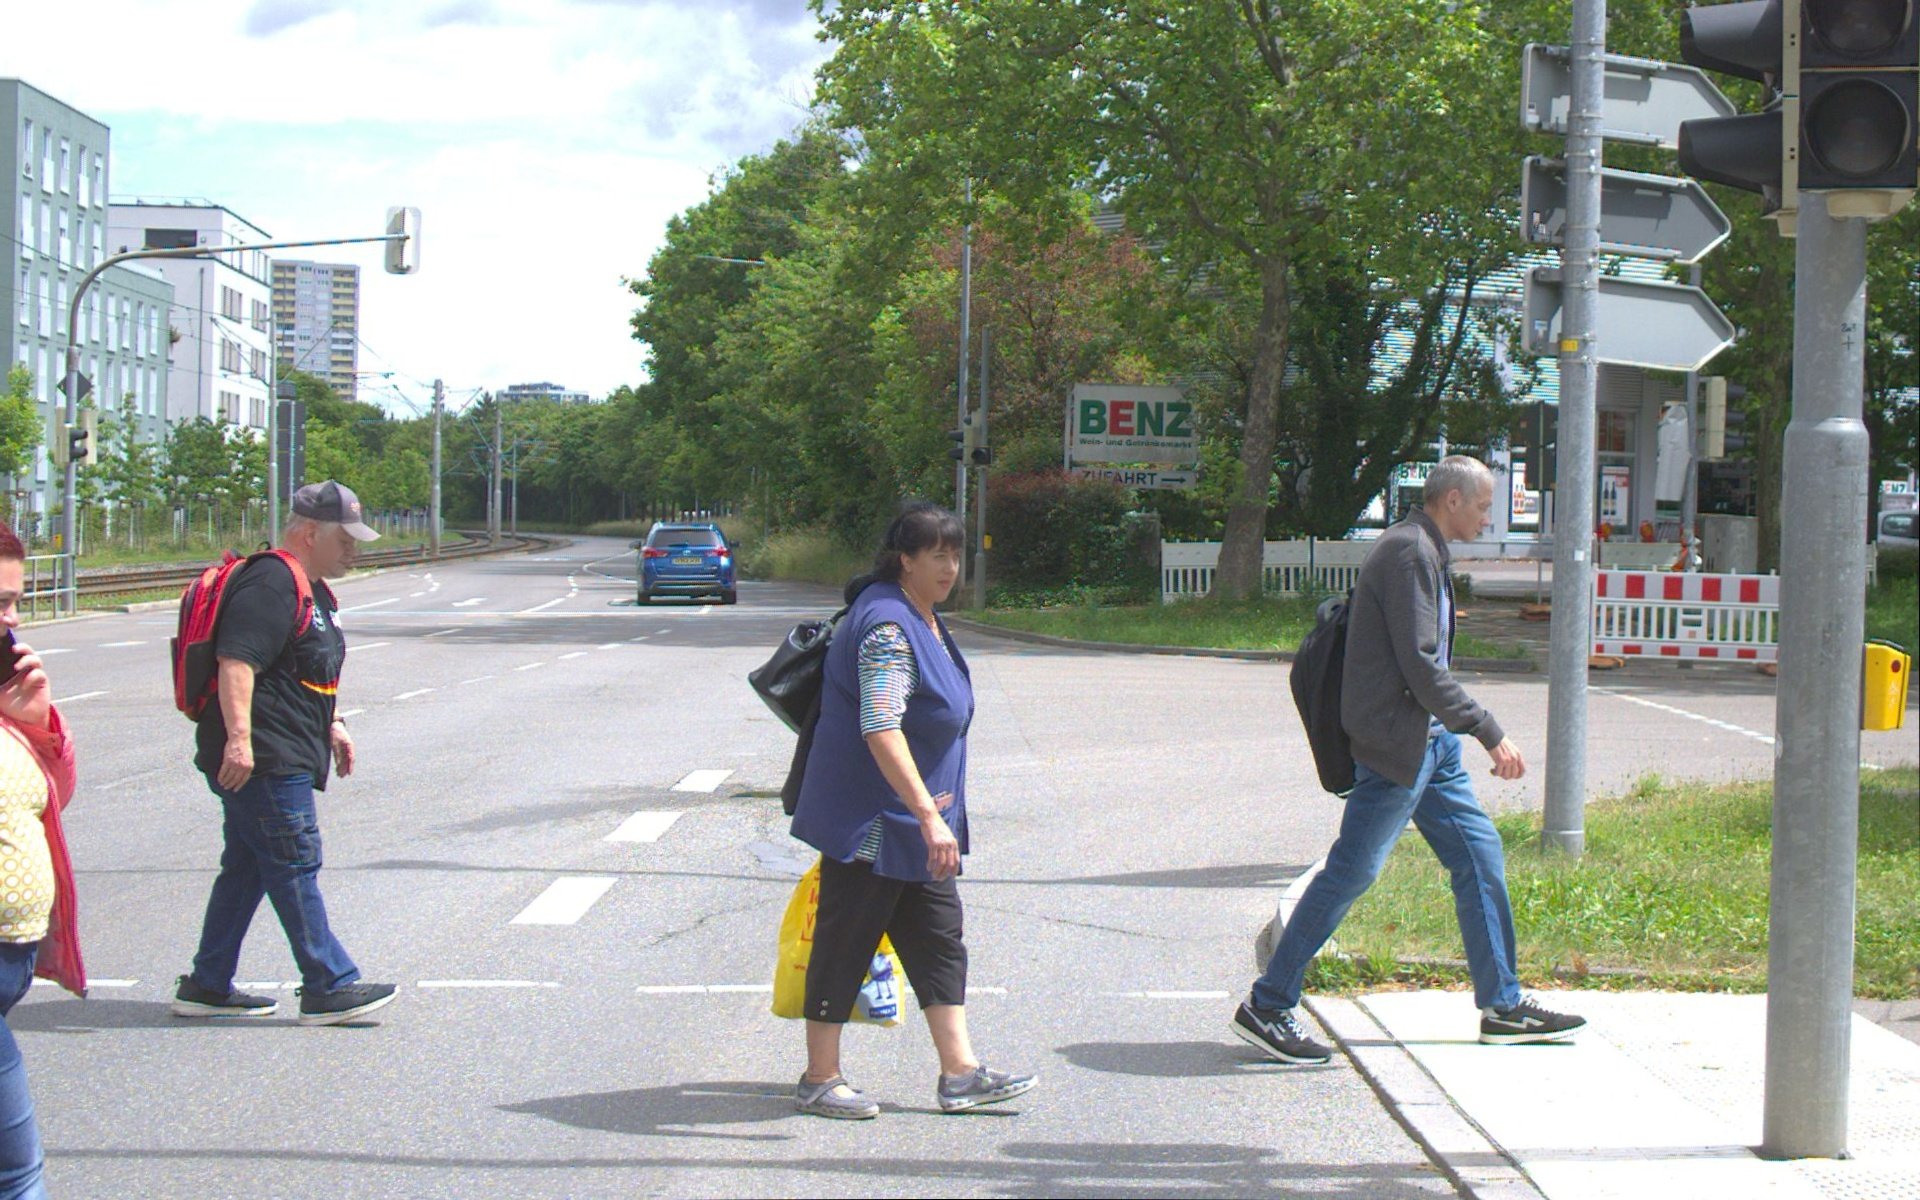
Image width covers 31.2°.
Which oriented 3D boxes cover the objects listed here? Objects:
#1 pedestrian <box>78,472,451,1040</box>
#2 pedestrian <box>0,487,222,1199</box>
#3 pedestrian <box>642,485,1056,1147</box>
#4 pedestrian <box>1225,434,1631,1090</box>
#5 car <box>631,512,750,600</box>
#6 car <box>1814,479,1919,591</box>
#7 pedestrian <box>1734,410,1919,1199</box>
[{"bbox_3d":[-2.026,0.428,10.125,0.892,1.591,0.908,1,1,1],"label":"pedestrian"},{"bbox_3d":[-1.725,0.591,5.600,0.881,1.549,0.746,1,1,0],"label":"pedestrian"},{"bbox_3d":[-0.264,0.512,8.861,0.913,1.601,0.929,1,1,8],"label":"pedestrian"},{"bbox_3d":[1.301,0.429,9.757,1.002,1.767,0.929,1,1,0],"label":"pedestrian"},{"bbox_3d":[-4.819,-0.803,61.062,1.982,1.481,4.492,0,1,-6],"label":"car"},{"bbox_3d":[17.743,-1.181,62.563,1.993,2.007,4.000,0,2,-32],"label":"car"},{"bbox_3d":[1.788,0.545,5.338,0.958,1.642,0.880,1,1,0],"label":"pedestrian"}]
